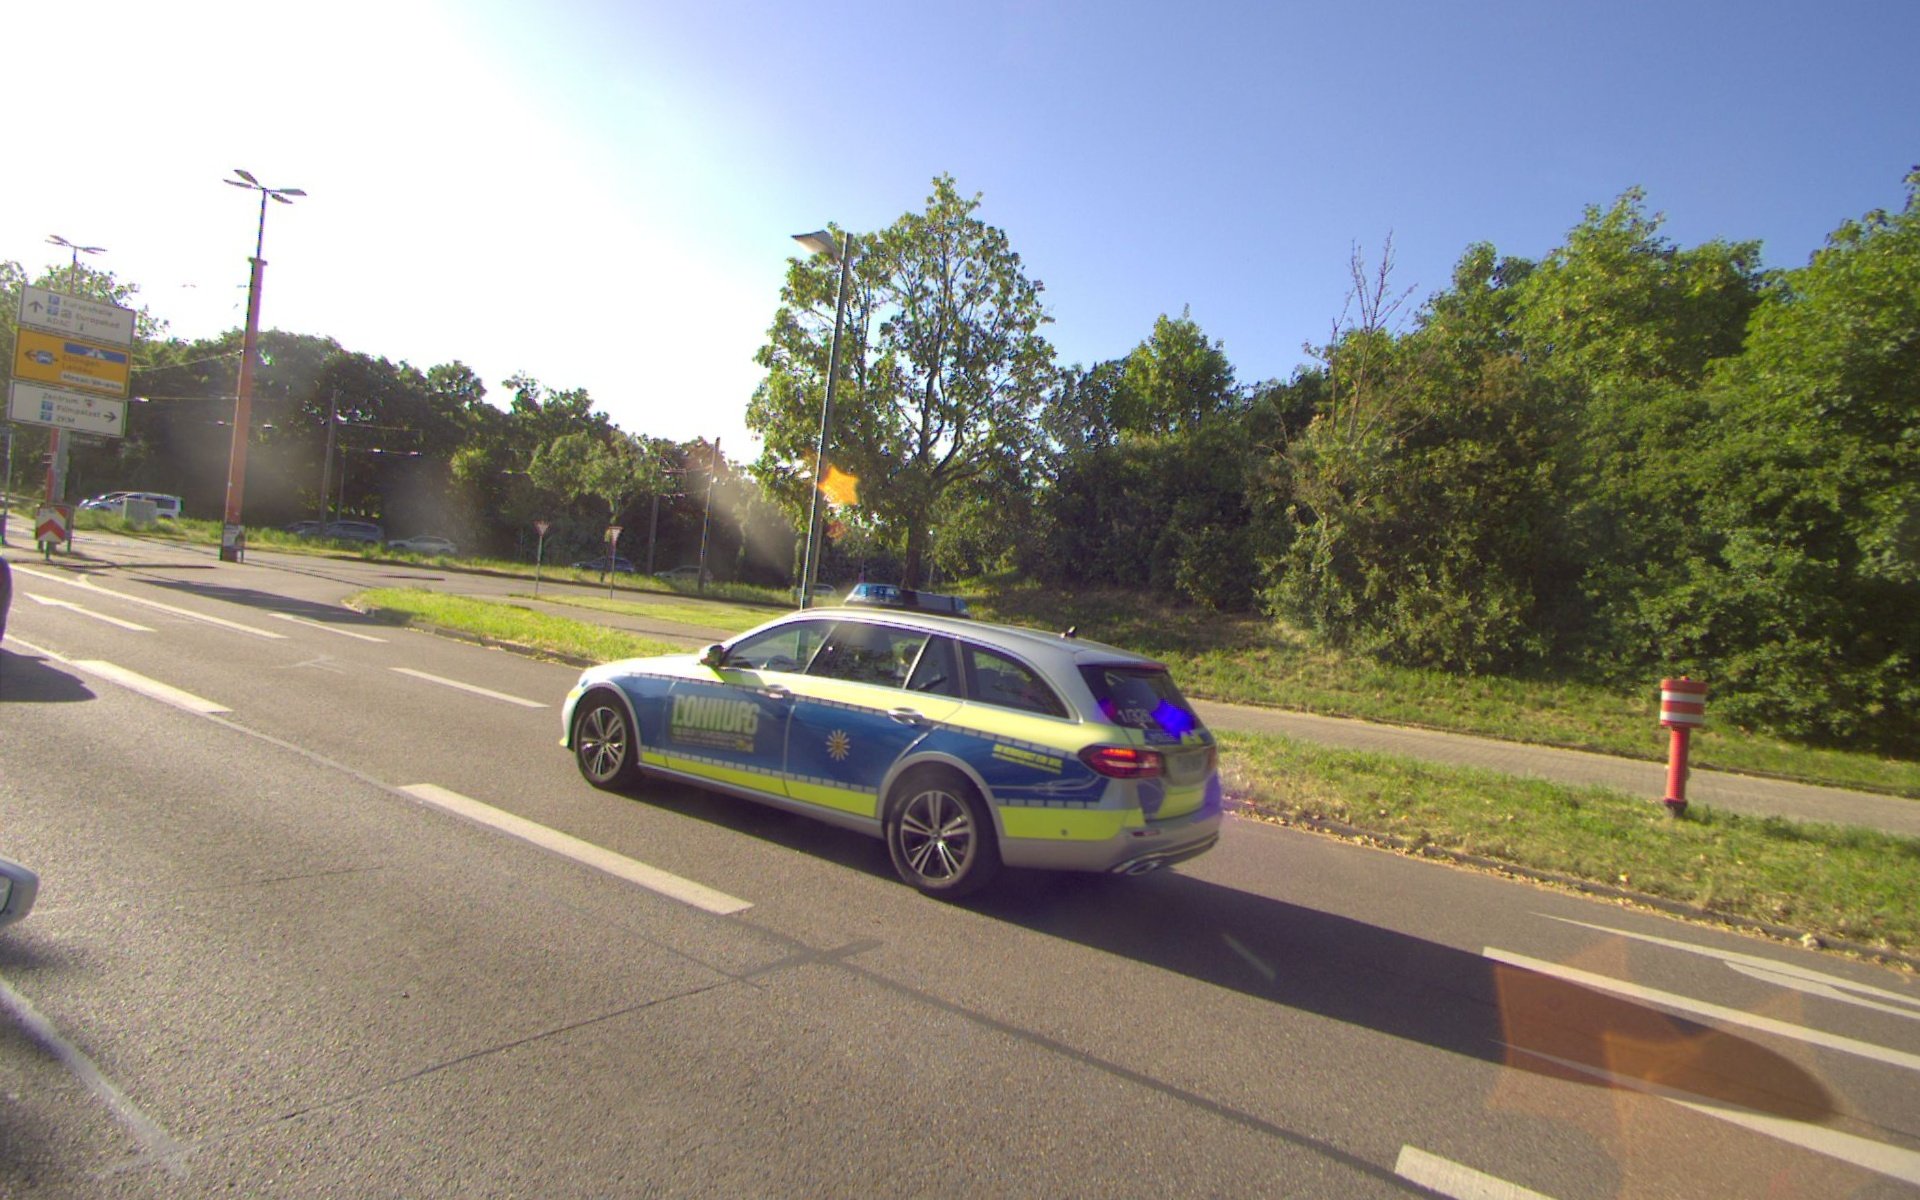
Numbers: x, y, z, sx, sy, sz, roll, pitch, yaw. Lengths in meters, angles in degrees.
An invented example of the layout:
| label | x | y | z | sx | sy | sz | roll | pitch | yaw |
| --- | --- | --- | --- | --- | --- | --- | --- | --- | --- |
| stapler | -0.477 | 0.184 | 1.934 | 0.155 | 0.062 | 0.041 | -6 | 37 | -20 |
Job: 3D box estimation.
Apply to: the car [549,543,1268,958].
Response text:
| label | x | y | z | sx | sy | sz | roll | pitch | yaw |
| --- | --- | --- | --- | --- | --- | --- | --- | --- | --- |
| car | -0.507 | 0.722 | 6.762 | 4.429 | 1.652 | 1.895 | 7 | -1 | 34 |

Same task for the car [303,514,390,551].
| label | x | y | z | sx | sy | sz | roll | pitch | yaw |
| --- | --- | --- | --- | --- | --- | --- | --- | --- | --- |
| car | -37.043 | -4.053 | 60.815 | 4.323 | 1.577 | 1.856 | 8 | -1 | -33 |

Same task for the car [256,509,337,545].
| label | x | y | z | sx | sy | sz | roll | pitch | yaw |
| --- | --- | --- | --- | --- | --- | --- | --- | --- | --- |
| car | -40.808 | -4.468 | 61.994 | 3.959 | 1.579 | 1.884 | 8 | -1 | -31 |

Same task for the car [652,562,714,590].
| label | x | y | z | sx | sy | sz | roll | pitch | yaw |
| --- | --- | --- | --- | --- | --- | --- | --- | --- | --- |
| car | -20.704 | -1.796 | 75.197 | 3.958 | 1.546 | 1.846 | 8 | -1 | -31 |

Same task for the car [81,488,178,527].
| label | x | y | z | sx | sy | sz | roll | pitch | yaw |
| --- | --- | --- | --- | --- | --- | --- | --- | --- | --- |
| car | -47.764 | -5.292 | 57.940 | 3.960 | 1.493 | 1.774 | 8 | -1 | -32 |

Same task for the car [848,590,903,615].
| label | x | y | z | sx | sy | sz | roll | pitch | yaw |
| --- | --- | --- | --- | --- | --- | --- | --- | --- | --- |
| car | -6.968 | 0.246 | 82.644 | 3.955 | 1.503 | 1.877 | 8 | -1 | -29 |

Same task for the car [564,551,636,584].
| label | x | y | z | sx | sy | sz | roll | pitch | yaw |
| --- | --- | --- | --- | --- | --- | --- | --- | --- | --- |
| car | -24.578 | -2.194 | 68.770 | 4.230 | 1.646 | 1.914 | 8 | -1 | -31 |

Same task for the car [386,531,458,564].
| label | x | y | z | sx | sy | sz | roll | pitch | yaw |
| --- | --- | --- | --- | --- | --- | --- | --- | --- | --- |
| car | -35.043 | -3.408 | 65.573 | 3.959 | 1.513 | 1.846 | 8 | -1 | -31 |

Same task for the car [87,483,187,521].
| label | x | y | z | sx | sy | sz | roll | pitch | yaw |
| --- | --- | --- | --- | --- | --- | --- | --- | --- | --- |
| car | -45.487 | -5.383 | 55.701 | 3.960 | 1.353 | 1.715 | 8 | -1 | -32 |

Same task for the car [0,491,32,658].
| label | x | y | z | sx | sy | sz | roll | pitch | yaw |
| --- | --- | --- | --- | --- | --- | --- | --- | --- | --- |
| car | -10.527 | -0.472 | 9.491 | 3.445 | 1.512 | 1.641 | 7 | -1 | 32 |

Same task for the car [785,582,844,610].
| label | x | y | z | sx | sy | sz | roll | pitch | yaw |
| --- | --- | --- | --- | --- | --- | --- | --- | --- | --- |
| car | -11.115 | -0.325 | 76.841 | 3.957 | 1.600 | 1.858 | 8 | -1 | -30 |
